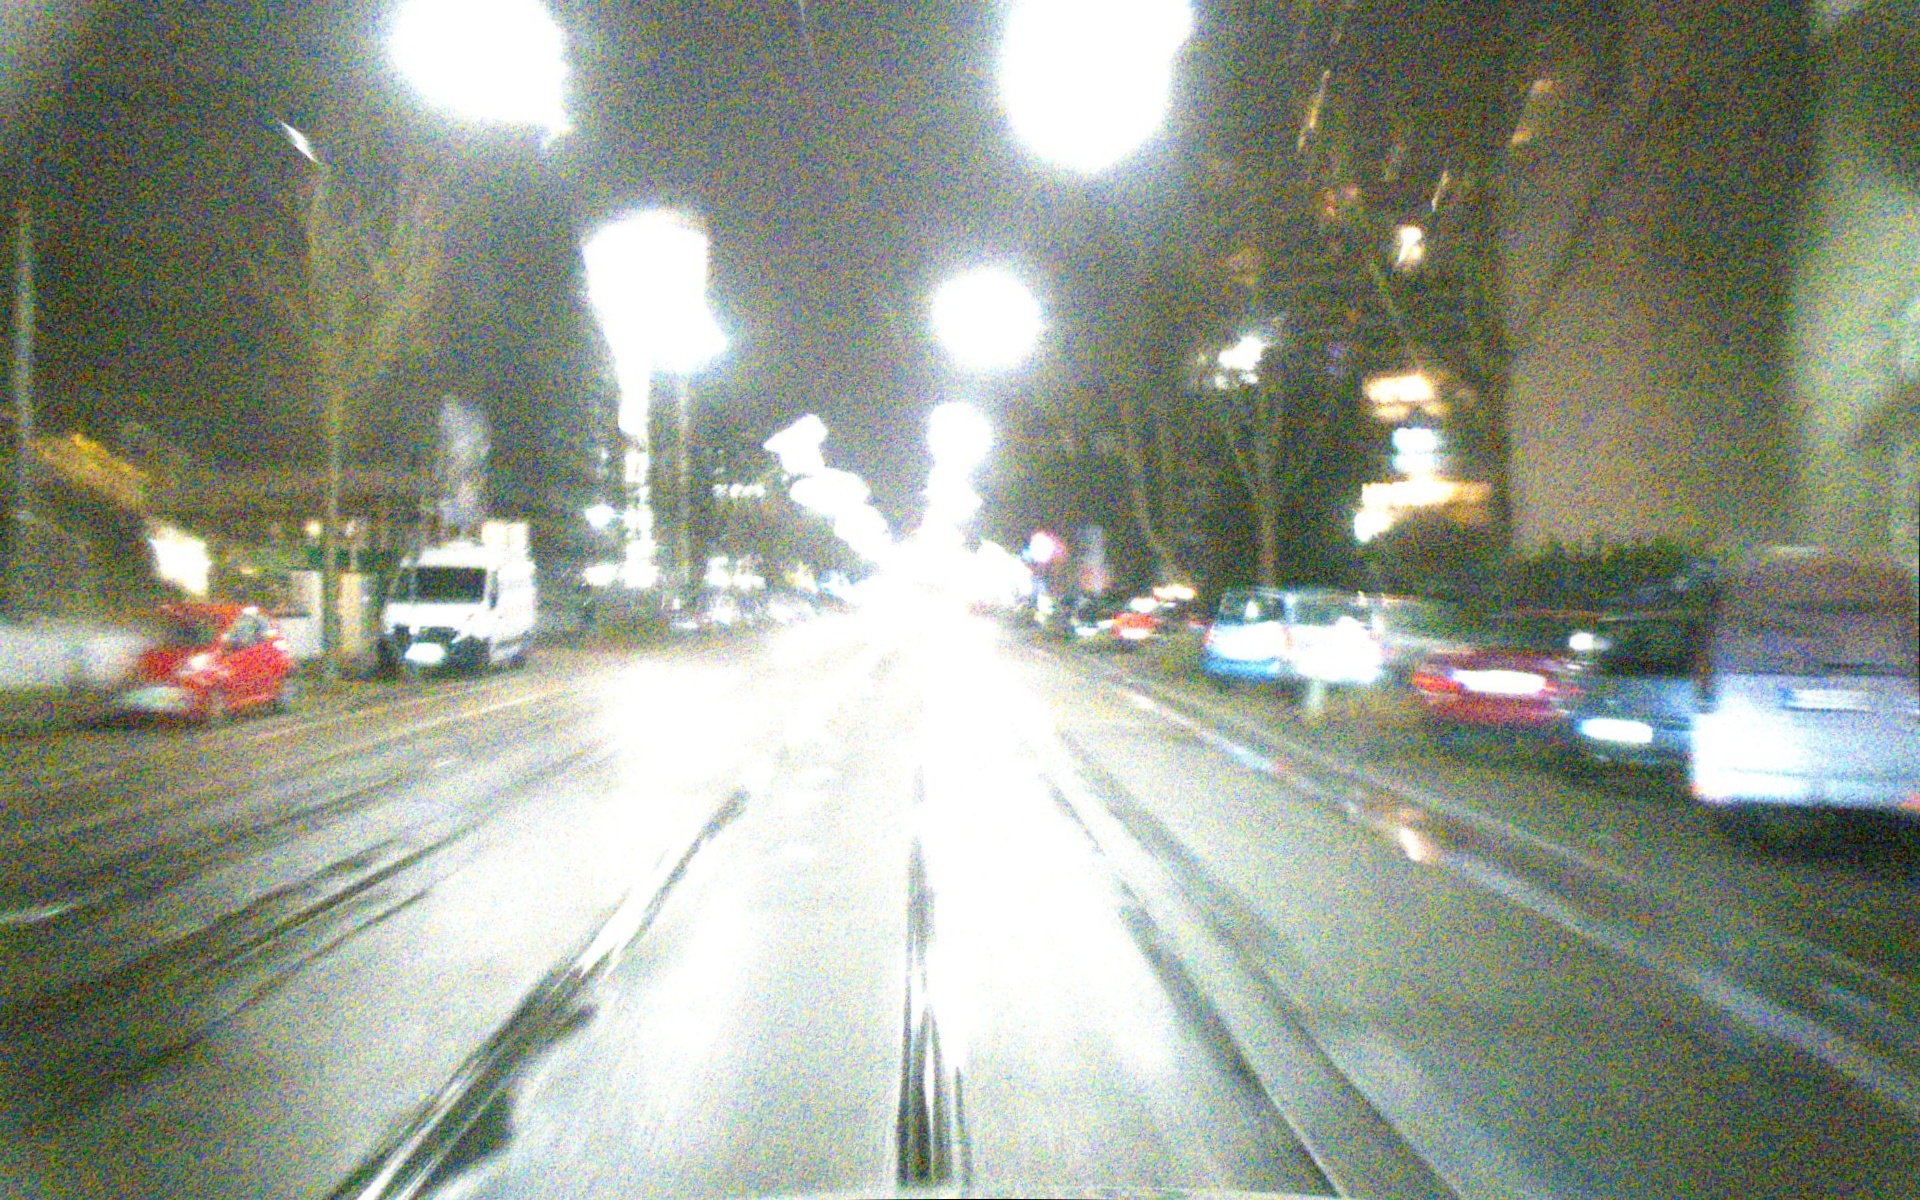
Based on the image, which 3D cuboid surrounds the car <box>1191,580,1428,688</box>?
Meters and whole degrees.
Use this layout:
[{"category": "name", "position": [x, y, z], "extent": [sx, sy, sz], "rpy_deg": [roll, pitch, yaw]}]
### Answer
[{"category": "car", "position": [5.565, 0.496, 26.104], "extent": [3.857, 1.560, 1.793], "rpy_deg": [1, 1, -43]}]

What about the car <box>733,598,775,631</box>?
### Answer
[{"category": "car", "position": [-11.831, 0.839, 95.243], "extent": [1.982, 1.791, 3.998], "rpy_deg": [2, -1, -2]}]

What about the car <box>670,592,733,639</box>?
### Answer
[{"category": "car", "position": [-10.407, 0.626, 66.943], "extent": [2.067, 1.795, 4.961], "rpy_deg": [2, -1, -4]}]

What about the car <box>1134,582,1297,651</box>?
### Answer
[{"category": "car", "position": [5.738, 0.351, 36.920], "extent": [3.798, 1.455, 1.611], "rpy_deg": [0, 1, -44]}]

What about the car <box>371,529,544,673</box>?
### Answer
[{"category": "car", "position": [-9.801, -0.015, 32.732], "extent": [1.985, 2.542, 5.603], "rpy_deg": [2, 1, -4]}]

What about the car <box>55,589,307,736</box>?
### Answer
[{"category": "car", "position": [-9.525, 0.702, 20.514], "extent": [1.608, 1.533, 3.617], "rpy_deg": [1, 2, -4]}]

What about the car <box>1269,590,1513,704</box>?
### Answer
[{"category": "car", "position": [6.221, 0.642, 23.637], "extent": [1.790, 1.458, 3.831], "rpy_deg": [1, 0, 43]}]

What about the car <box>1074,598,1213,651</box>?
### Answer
[{"category": "car", "position": [5.484, 0.734, 49.147], "extent": [1.918, 1.480, 4.219], "rpy_deg": [1, 0, 44]}]

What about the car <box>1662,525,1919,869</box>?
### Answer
[{"category": "car", "position": [6.437, 0.548, 10.749], "extent": [4.140, 1.871, 1.932], "rpy_deg": [1, 1, -43]}]

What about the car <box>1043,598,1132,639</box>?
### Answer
[{"category": "car", "position": [5.327, 0.767, 68.647], "extent": [1.873, 1.600, 3.946], "rpy_deg": [1, 0, 37]}]

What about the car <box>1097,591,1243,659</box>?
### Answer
[{"category": "car", "position": [5.505, 0.638, 43.080], "extent": [2.018, 1.652, 3.808], "rpy_deg": [1, 0, 40]}]

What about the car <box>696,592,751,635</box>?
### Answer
[{"category": "car", "position": [-10.739, 0.617, 75.316], "extent": [1.959, 1.816, 3.998], "rpy_deg": [2, -1, -2]}]

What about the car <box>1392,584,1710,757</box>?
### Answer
[{"category": "car", "position": [6.130, 0.603, 16.854], "extent": [1.661, 1.428, 4.435], "rpy_deg": [1, 2, 40]}]

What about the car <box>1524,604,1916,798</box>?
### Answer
[{"category": "car", "position": [6.389, 0.756, 13.820], "extent": [3.301, 1.409, 1.610], "rpy_deg": [1, 0, -37]}]

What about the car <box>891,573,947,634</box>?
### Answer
[{"category": "car", "position": [-1.778, 0.121, 70.259], "extent": [2.173, 2.484, 5.381], "rpy_deg": [0, 0, -3]}]

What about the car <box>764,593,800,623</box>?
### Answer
[{"category": "car", "position": [-11.424, 0.528, 106.421], "extent": [1.982, 1.791, 3.998], "rpy_deg": [2, -1, -2]}]

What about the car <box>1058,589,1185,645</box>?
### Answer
[{"category": "car", "position": [5.296, 0.553, 53.842], "extent": [1.995, 1.728, 4.221], "rpy_deg": [1, 0, 43]}]
